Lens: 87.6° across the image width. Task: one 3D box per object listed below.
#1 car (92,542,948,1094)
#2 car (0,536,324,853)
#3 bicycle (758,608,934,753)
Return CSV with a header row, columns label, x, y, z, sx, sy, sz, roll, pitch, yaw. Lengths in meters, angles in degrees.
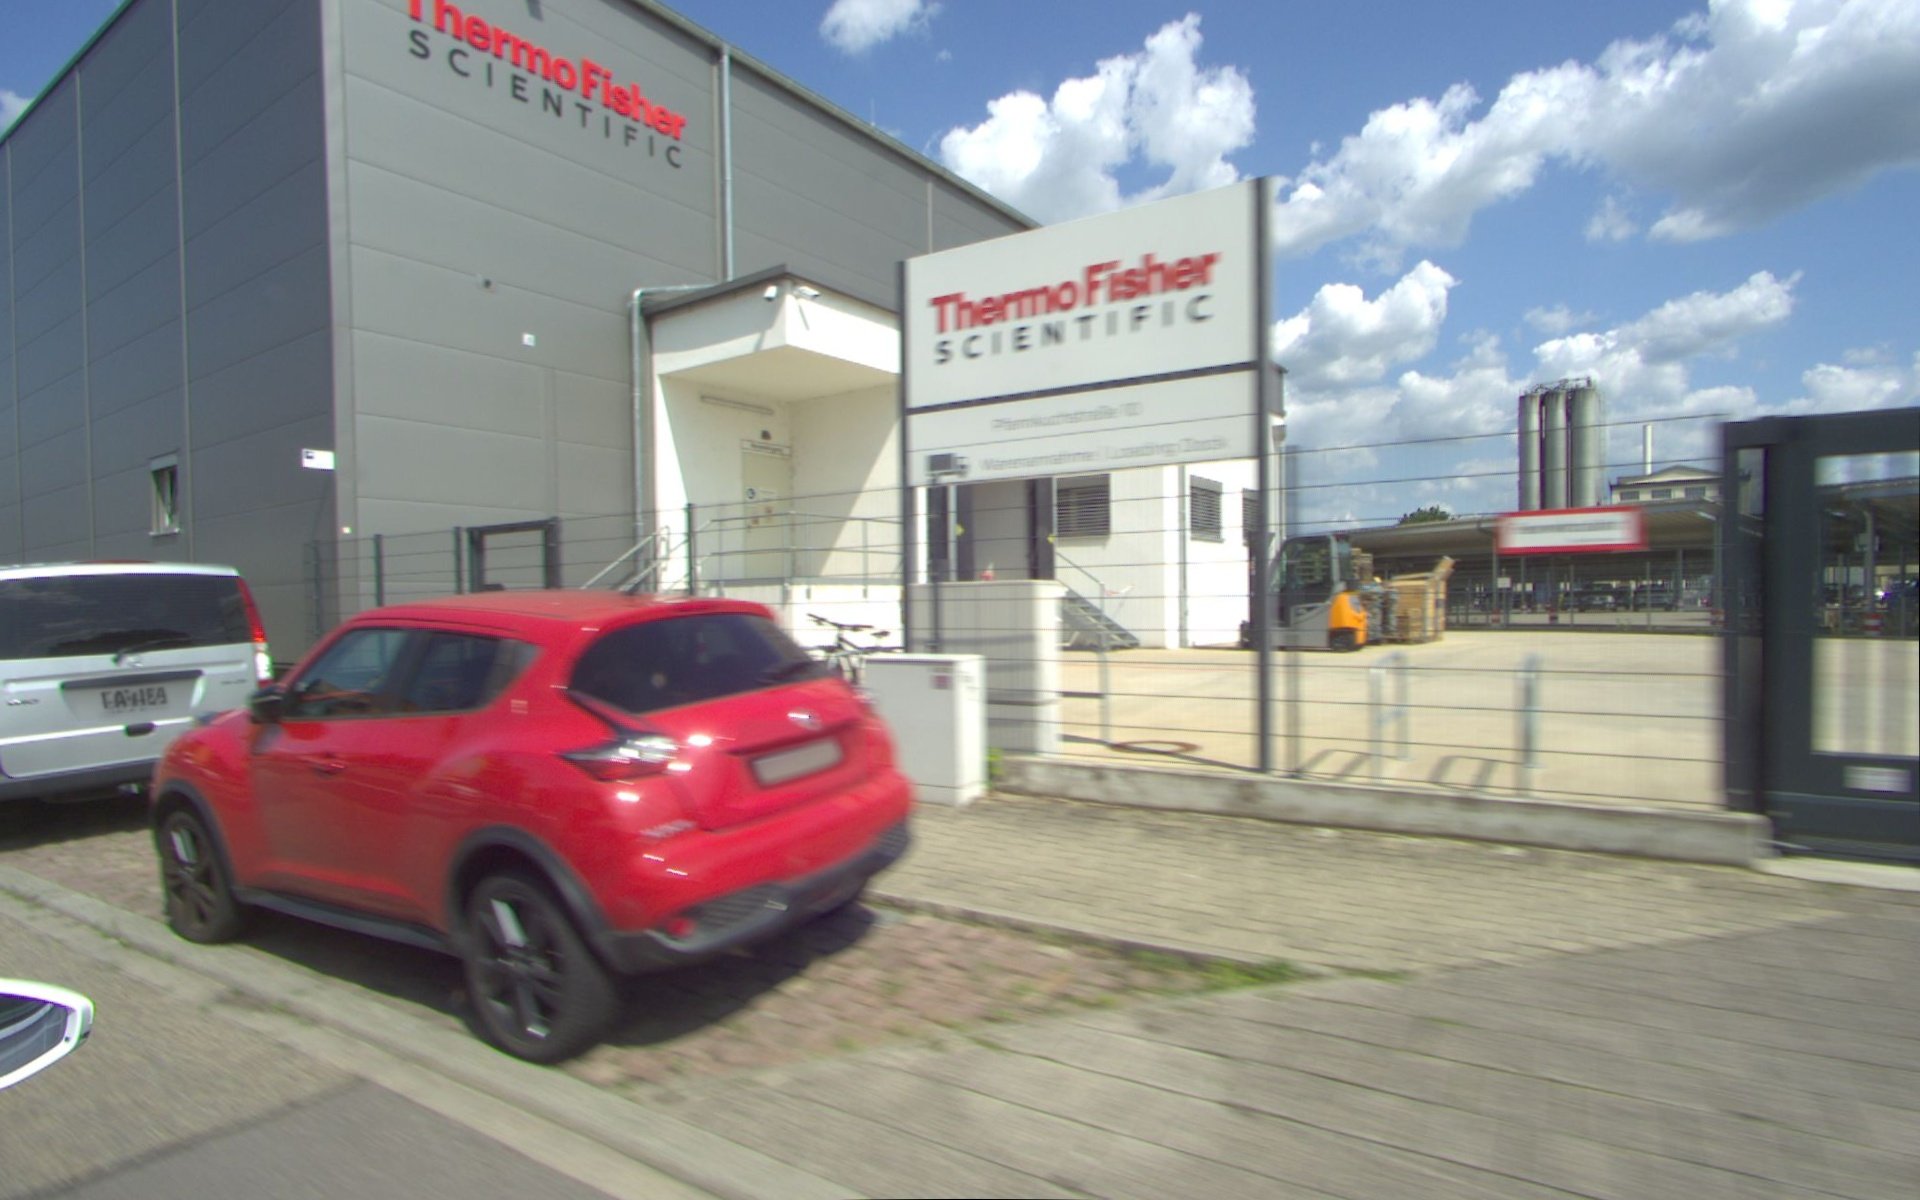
label,x,y,z,sx,sy,sz,roll,pitch,yaw
car,-2.228,0.679,4.764,4.034,1.646,1.700,-2,1,32
car,-7.606,0.576,8.218,5.075,1.930,2.047,-1,4,34
bicycle,-1.008,0.696,9.406,0.451,1.158,1.943,0,2,34
